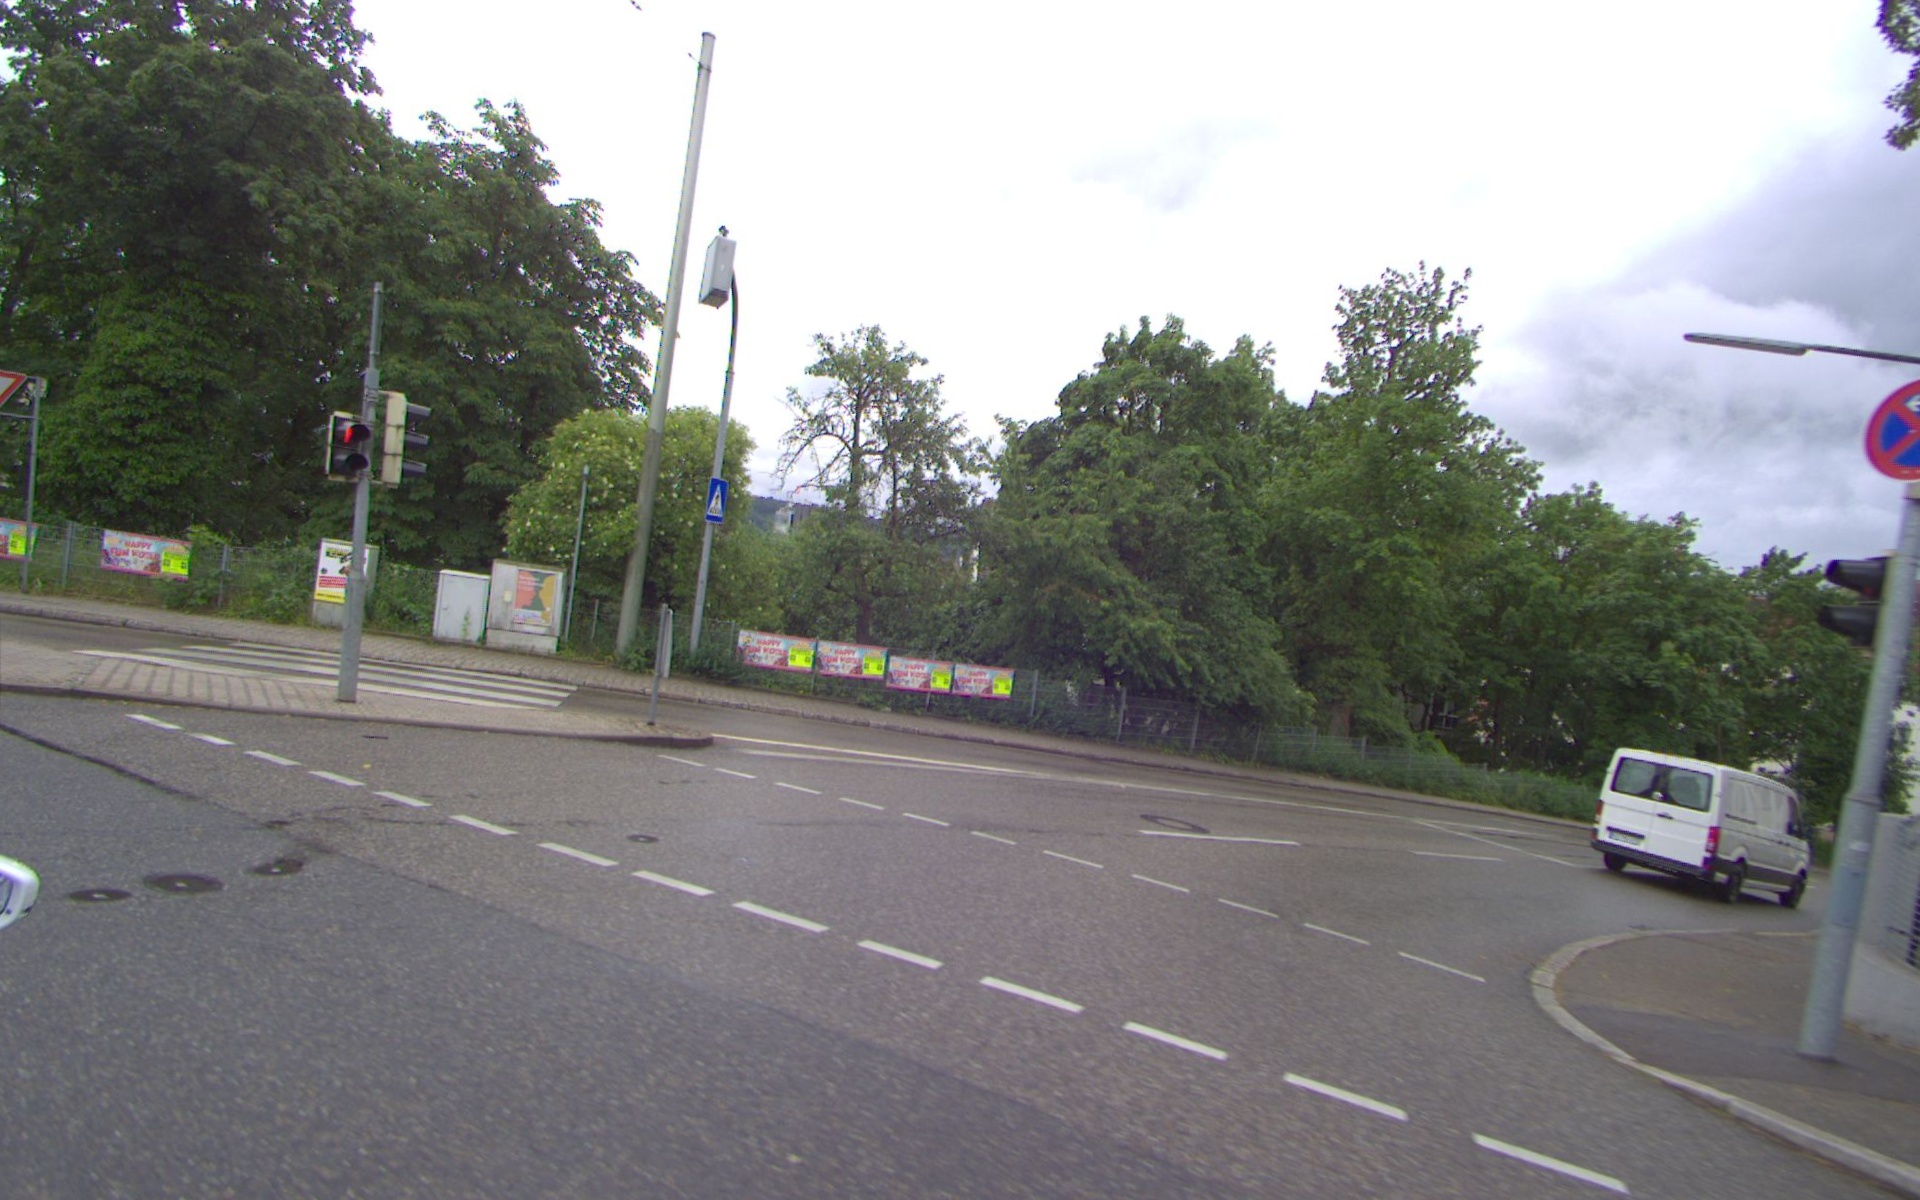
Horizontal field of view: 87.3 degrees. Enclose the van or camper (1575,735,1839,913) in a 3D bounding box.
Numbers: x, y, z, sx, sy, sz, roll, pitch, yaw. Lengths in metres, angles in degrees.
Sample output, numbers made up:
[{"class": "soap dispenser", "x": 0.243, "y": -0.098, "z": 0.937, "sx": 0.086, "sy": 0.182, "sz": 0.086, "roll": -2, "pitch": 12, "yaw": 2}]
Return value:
[{"class": "van or camper", "x": 14.050, "y": 4.239, "z": 18.808, "sx": 5.379, "sy": 2.349, "sz": 2.090, "roll": 14, "pitch": -2, "yaw": -34}]
